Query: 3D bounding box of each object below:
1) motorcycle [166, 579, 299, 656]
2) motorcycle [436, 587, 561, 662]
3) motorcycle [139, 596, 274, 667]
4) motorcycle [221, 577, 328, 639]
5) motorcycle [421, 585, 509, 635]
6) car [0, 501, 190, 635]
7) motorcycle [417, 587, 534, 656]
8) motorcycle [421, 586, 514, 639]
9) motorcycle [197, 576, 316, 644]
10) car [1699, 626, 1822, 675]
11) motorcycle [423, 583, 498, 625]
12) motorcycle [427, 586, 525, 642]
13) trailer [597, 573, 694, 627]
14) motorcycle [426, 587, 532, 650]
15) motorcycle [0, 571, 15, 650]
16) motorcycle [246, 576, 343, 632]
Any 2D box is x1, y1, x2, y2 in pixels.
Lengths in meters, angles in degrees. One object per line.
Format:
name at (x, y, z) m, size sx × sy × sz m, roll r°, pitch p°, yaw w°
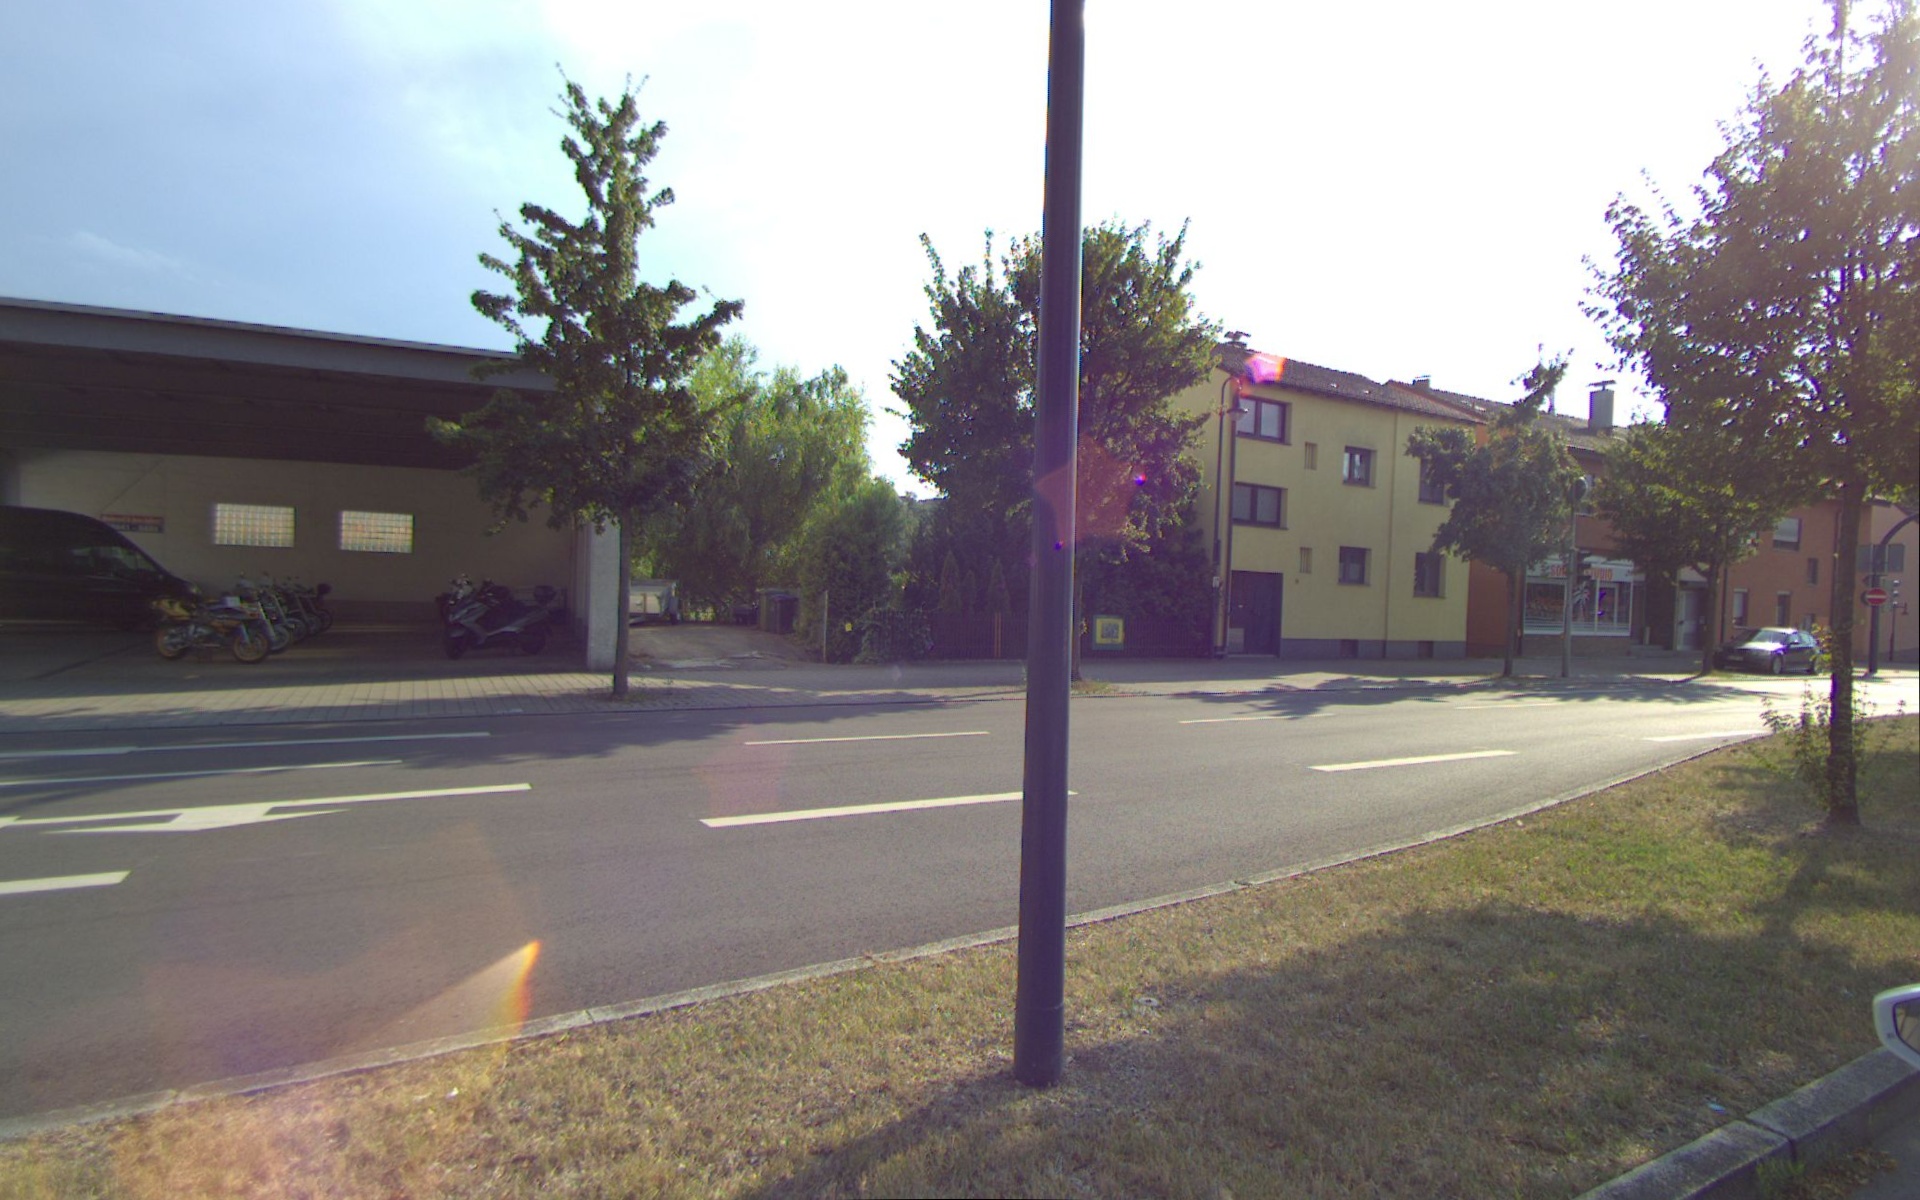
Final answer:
motorcycle at (-13.646, 0.319, 18.850) m, size 2.219 × 1.354 × 0.631 m, roll 1°, pitch 0°, yaw 10°
motorcycle at (-8.633, 0.430, 18.885) m, size 0.621 × 1.314 × 2.113 m, roll 1°, pitch 2°, yaw 36°
motorcycle at (-12.510, 0.504, 16.685) m, size 1.993 × 1.101 × 0.631 m, roll 1°, pitch 0°, yaw 12°
motorcycle at (-15.899, 0.182, 23.301) m, size 2.219 × 1.354 × 0.631 m, roll 1°, pitch 0°, yaw 10°
motorcycle at (-13.528, 0.241, 27.506) m, size 0.621 × 1.314 × 2.113 m, roll 1°, pitch 2°, yaw 36°
car at (-20.467, -0.681, 22.079) m, size 1.962 × 2.789 × 5.280 m, roll 1°, pitch 0°, yaw 26°
motorcycle at (-9.826, 0.402, 20.447) m, size 0.621 × 1.314 × 2.113 m, roll 1°, pitch 2°, yaw 36°
motorcycle at (-12.663, 0.293, 25.908) m, size 0.621 × 1.314 × 2.113 m, roll 1°, pitch 2°, yaw 36°
motorcycle at (-14.767, 0.205, 21.092) m, size 2.219 × 1.354 × 0.631 m, roll 1°, pitch 0°, yaw 10°
car at (25.954, 1.599, 32.544) m, size 3.953 × 1.319 × 1.728 m, roll 1°, pitch 4°, yaw -30°
motorcycle at (-15.974, 0.103, 32.164) m, size 0.621 × 1.314 × 2.113 m, roll 1°, pitch 2°, yaw 36°
motorcycle at (-11.781, 0.313, 24.525) m, size 0.621 × 1.314 × 2.113 m, roll 1°, pitch 2°, yaw 36°
trailer at (-8.232, -0.005, 26.606) m, size 1.698 × 1.280 × 3.995 m, roll 1°, pitch 0°, yaw -7°
motorcycle at (-10.756, 0.385, 22.525) m, size 0.621 × 1.314 × 2.113 m, roll 1°, pitch 2°, yaw 36°
motorcycle at (-17.301, 0.169, 16.712) m, size 0.619 × 1.380 × 2.225 m, roll 1°, pitch 0°, yaw 24°
motorcycle at (-16.923, 0.104, 25.560) m, size 2.219 × 1.354 × 0.631 m, roll 1°, pitch 0°, yaw 10°
